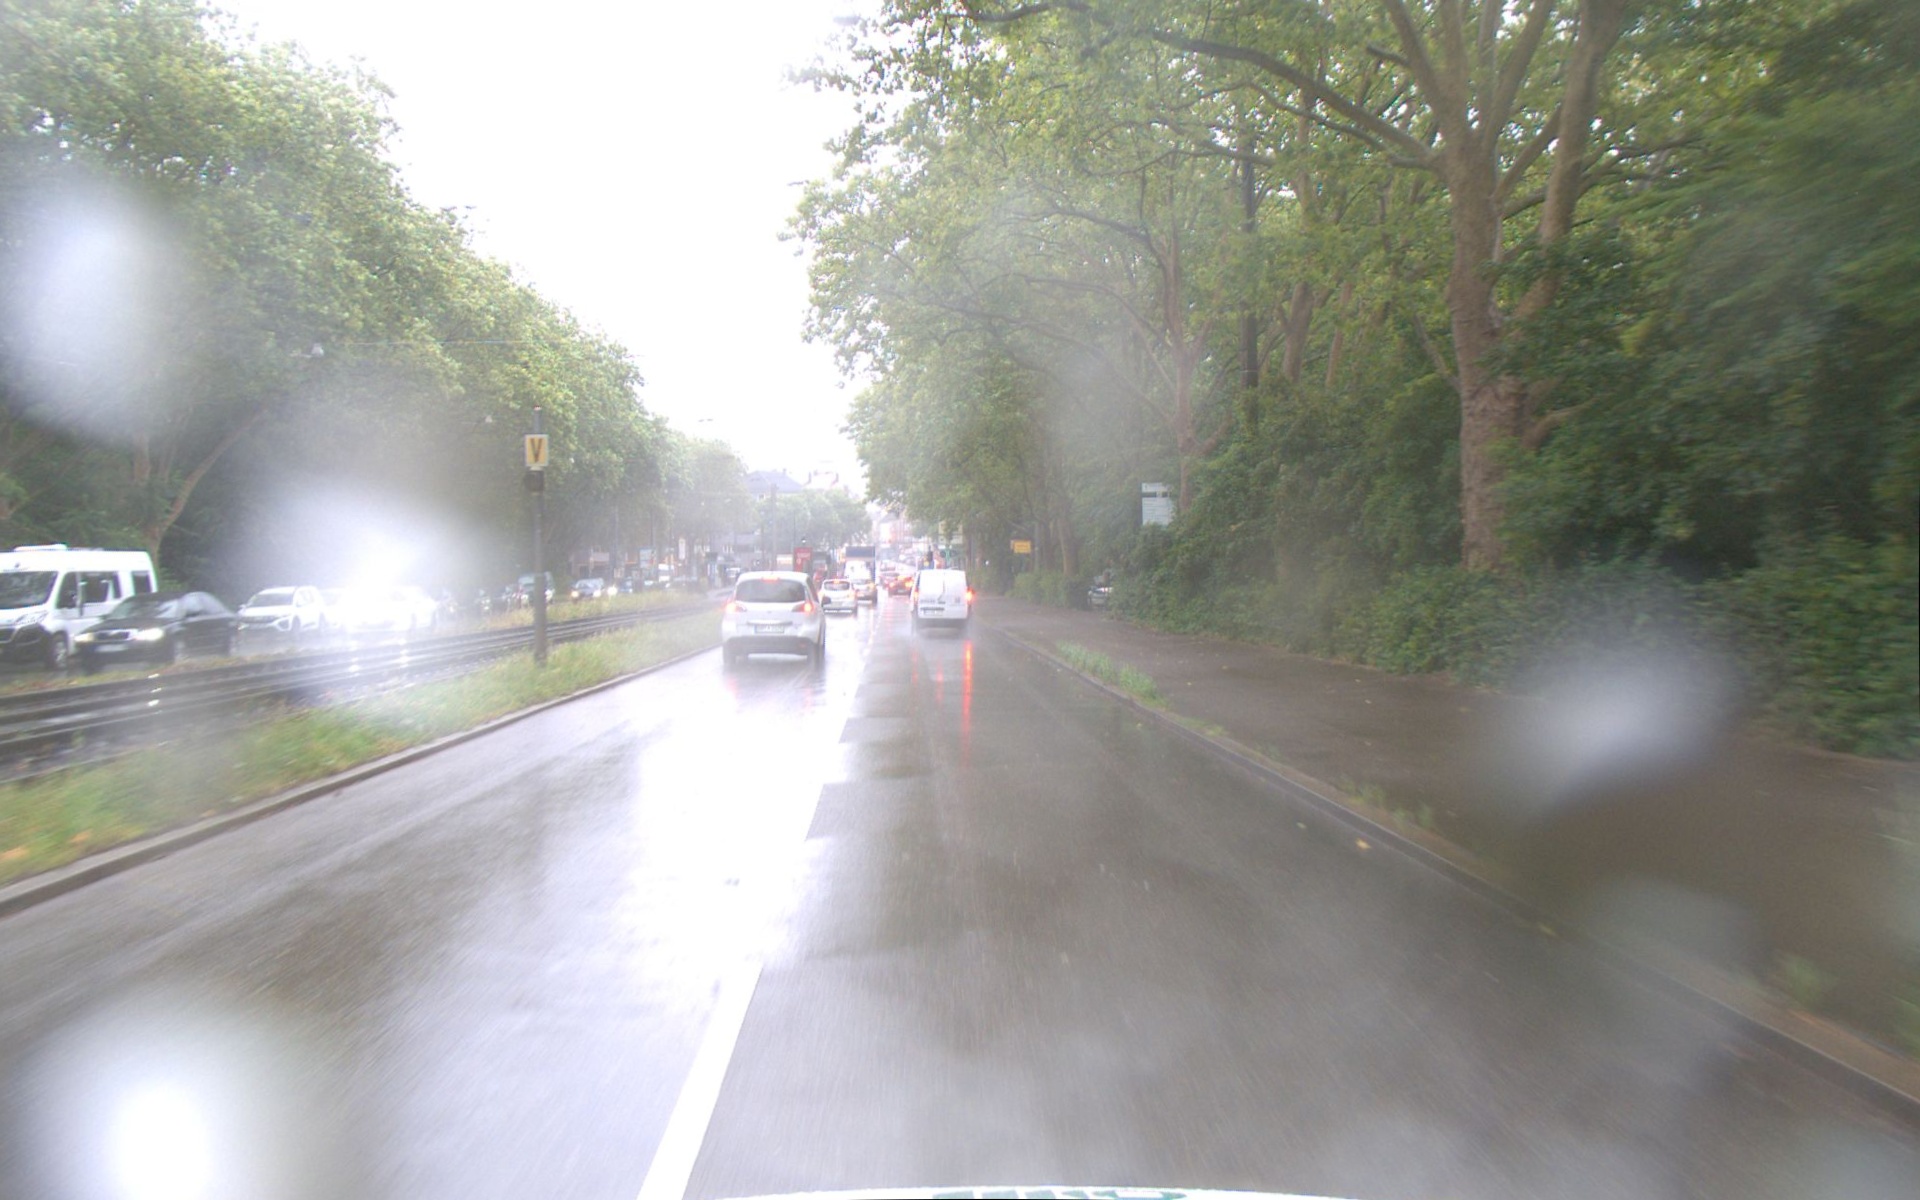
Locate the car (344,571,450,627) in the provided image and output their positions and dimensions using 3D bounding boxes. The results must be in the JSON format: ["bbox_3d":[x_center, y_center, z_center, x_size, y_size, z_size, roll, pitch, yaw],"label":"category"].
[{"bbox_3d":[-17.327,-0.066,51.114,1.940,1.594,4.764,-2,1,-5],"label":"car"}]

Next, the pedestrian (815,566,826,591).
[{"bbox_3d":[-9.944,-1.534,117.914,0.775,1.744,0.770,2,0,-4],"label":"pedestrian"}]

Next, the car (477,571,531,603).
[{"bbox_3d":[-24.155,-0.714,87.811,1.992,1.686,4.605,0,1,-5],"label":"car"}]

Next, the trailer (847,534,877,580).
[{"bbox_3d":[-8.683,-3.783,146.053,2.539,3.967,7.630,0,1,-4],"label":"trailer"}]

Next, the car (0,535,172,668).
[{"bbox_3d":[-19.520,0.003,35.690,2.343,2.585,6.560,-2,1,-5],"label":"car"}]

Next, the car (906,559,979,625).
[{"bbox_3d":[-0.527,-0.240,47.426,1.920,1.808,3.567,0,0,-3],"label":"car"}]

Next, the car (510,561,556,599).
[{"bbox_3d":[-25.342,-1.220,98.250,1.993,2.129,4.797,-2,1,-7],"label":"car"}]

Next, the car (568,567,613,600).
[{"bbox_3d":[-21.435,-0.986,96.097,1.992,1.781,4.255,-2,1,-5],"label":"car"}]

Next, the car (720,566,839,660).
[{"bbox_3d":[-3.336,0.194,31.248,1.827,1.652,4.262,0,1,-1],"label":"car"}]

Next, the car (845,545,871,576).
[{"bbox_3d":[-7.754,-2.997,126.104,1.954,2.301,5.285,0,0,-3],"label":"car"}]

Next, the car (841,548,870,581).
[{"bbox_3d":[-8.556,-2.904,136.208,2.283,2.602,6.111,0,0,-3],"label":"car"}]

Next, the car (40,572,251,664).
[{"bbox_3d":[-15.580,0.285,31.938,1.993,1.579,4.563,-2,1,-4],"label":"car"}]

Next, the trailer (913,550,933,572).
[{"bbox_3d":[-4.160,-4.327,184.116,1.954,2.357,4.664,0,0,-4],"label":"trailer"}]

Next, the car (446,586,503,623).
[{"bbox_3d":[-23.691,0.186,80.813,1.993,1.686,4.603,0,1,-8],"label":"car"}]

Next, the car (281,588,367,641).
[{"bbox_3d":[-21.838,0.467,56.950,1.727,1.677,3.809,-2,1,-5],"label":"car"}]

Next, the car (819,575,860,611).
[{"bbox_3d":[-5.183,-0.296,71.411,1.691,1.504,3.803,0,0,-3],"label":"car"}]

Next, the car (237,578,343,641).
[{"bbox_3d":[-20.519,0.248,50.848,1.716,1.758,4.527,-2,1,-5],"label":"car"}]

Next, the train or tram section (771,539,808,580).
[{"bbox_3d":[-14.830,-3.593,144.307,2.903,3.342,8.355,-2,2,-4],"label":"train or tram section"}]
